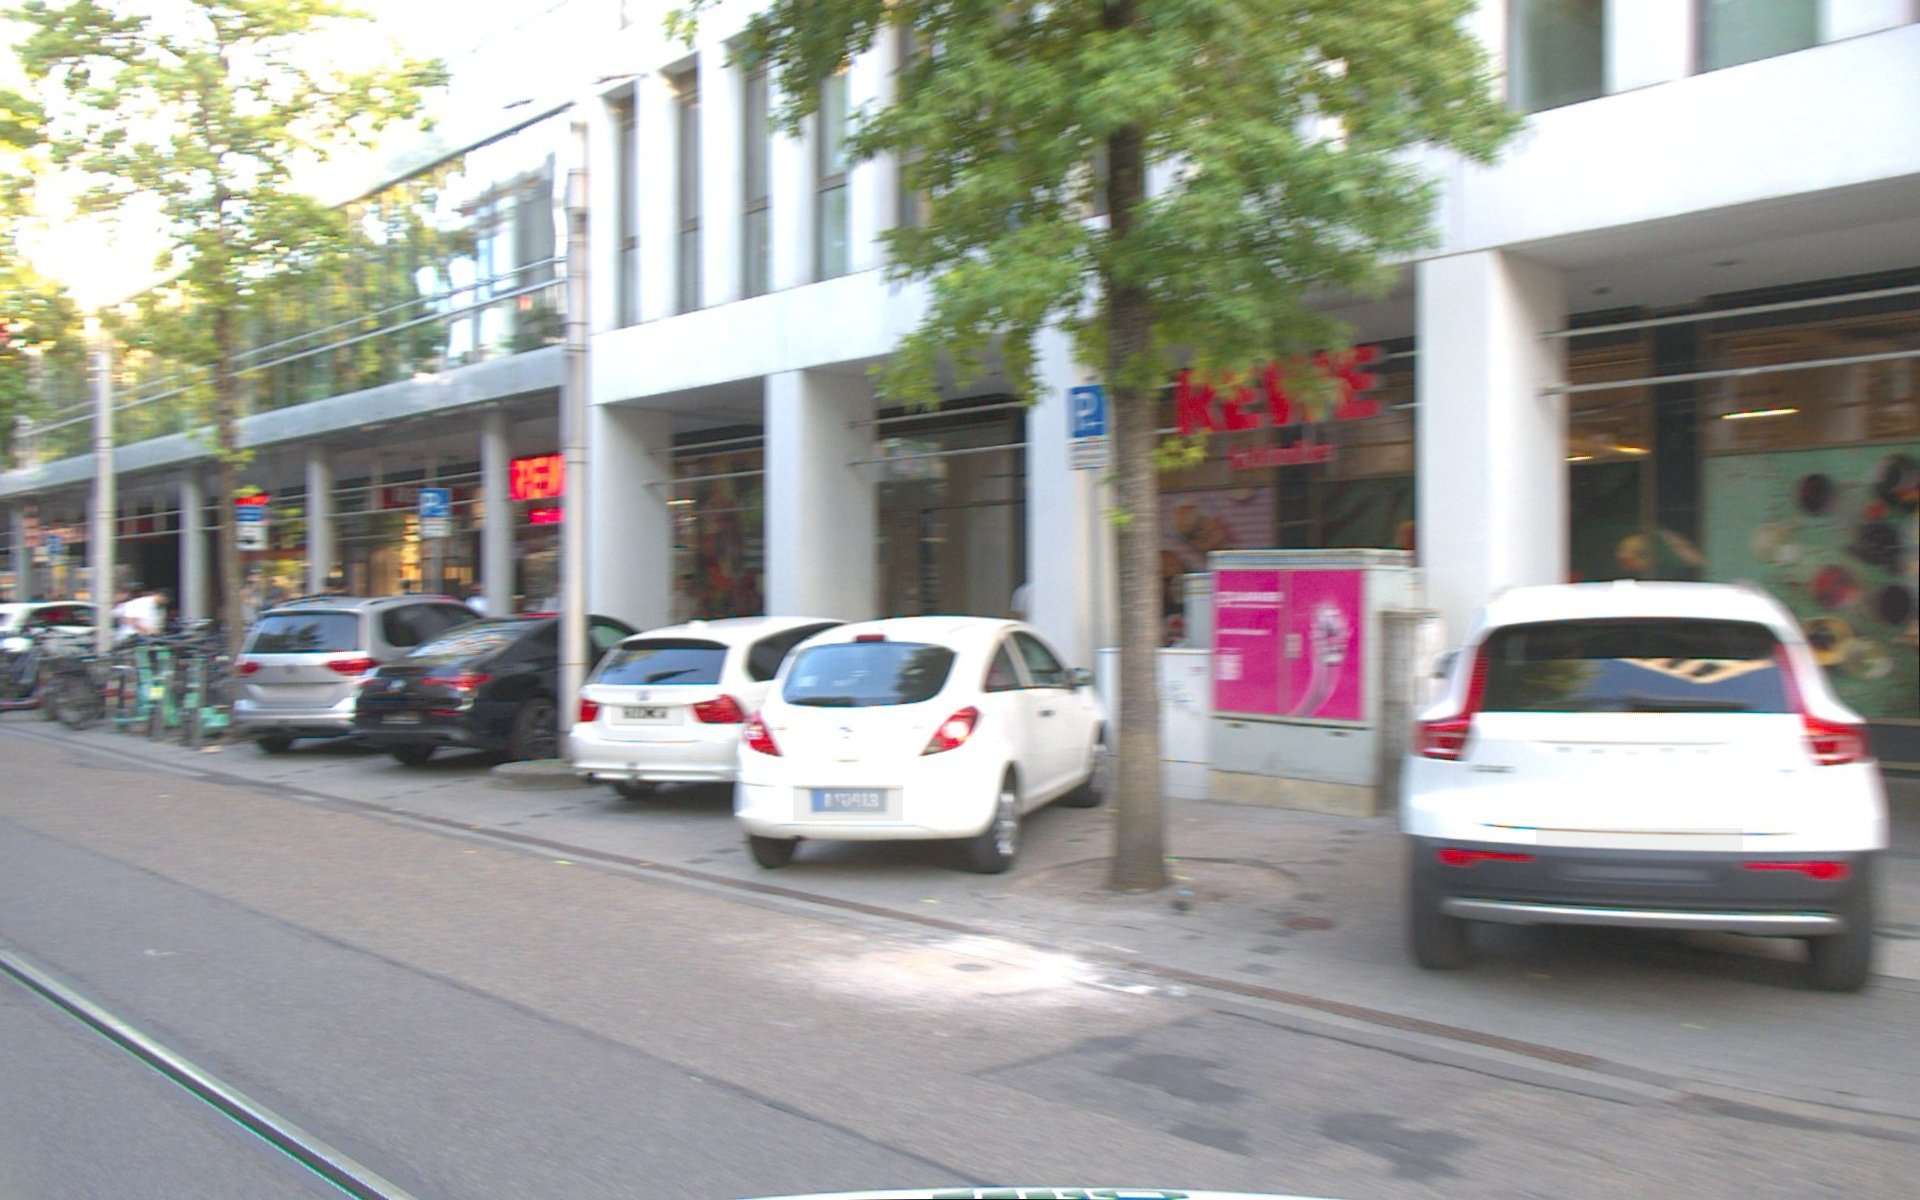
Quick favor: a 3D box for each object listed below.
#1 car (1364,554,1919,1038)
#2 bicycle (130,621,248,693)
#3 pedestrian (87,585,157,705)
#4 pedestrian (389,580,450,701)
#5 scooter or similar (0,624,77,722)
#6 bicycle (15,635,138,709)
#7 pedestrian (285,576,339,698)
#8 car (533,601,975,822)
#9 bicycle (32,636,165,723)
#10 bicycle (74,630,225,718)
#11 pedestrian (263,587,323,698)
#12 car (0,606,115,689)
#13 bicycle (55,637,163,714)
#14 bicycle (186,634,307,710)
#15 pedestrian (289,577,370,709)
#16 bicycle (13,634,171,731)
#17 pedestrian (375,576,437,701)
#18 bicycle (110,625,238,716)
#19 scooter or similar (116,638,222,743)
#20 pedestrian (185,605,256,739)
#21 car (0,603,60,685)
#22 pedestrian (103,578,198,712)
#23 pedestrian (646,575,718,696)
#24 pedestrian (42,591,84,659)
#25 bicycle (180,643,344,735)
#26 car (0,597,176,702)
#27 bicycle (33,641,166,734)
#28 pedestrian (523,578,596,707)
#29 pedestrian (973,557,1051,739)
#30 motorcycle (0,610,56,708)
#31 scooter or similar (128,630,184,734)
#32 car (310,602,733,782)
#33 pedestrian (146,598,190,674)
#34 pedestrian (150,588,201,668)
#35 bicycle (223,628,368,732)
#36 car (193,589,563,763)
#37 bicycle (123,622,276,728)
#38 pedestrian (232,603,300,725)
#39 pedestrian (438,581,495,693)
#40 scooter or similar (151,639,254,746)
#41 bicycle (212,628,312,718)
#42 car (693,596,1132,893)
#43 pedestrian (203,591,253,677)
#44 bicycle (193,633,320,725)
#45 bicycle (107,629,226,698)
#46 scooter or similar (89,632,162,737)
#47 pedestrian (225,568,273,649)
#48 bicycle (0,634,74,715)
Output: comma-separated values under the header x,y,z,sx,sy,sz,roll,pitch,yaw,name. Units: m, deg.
x,y,z,sx,sy,sz,roll,pitch,yaw,name
3.309,0.676,8.221,1.906,1.701,4.273,-2,1,22,car
-13.130,0.959,28.226,0.824,1.136,1.793,-1,1,17,bicycle
-13.321,0.699,26.312,0.585,1.844,0.820,0,2,8,pedestrian
-8.187,0.596,25.051,0.722,1.784,0.709,-1,1,-30,pedestrian
-13.254,1.012,23.206,1.359,1.327,0.697,0,0,8,scooter or similar
-14.941,1.204,28.028,0.896,1.136,1.751,-1,0,12,bicycle
-9.992,0.555,25.516,0.646,1.844,0.714,-1,1,-14,pedestrian
-1.575,0.825,14.374,1.786,1.447,4.349,-1,2,24,car
-12.388,1.116,23.854,0.609,1.095,1.835,0,2,14,bicycle
-12.143,1.083,24.848,0.682,1.168,1.998,0,2,28,bicycle
-11.393,0.712,28.270,0.775,1.844,0.659,-1,1,-9,pedestrian
-19.272,0.977,32.863,1.820,1.483,4.184,-1,2,23,car
-13.655,1.200,26.581,0.540,1.051,1.598,-1,4,17,bicycle
-11.332,1.122,26.341,0.804,1.113,1.835,0,0,15,bicycle
-9.056,0.598,23.782,0.868,1.844,0.936,-1,1,-9,pedestrian
-11.645,1.082,22.265,0.664,1.149,1.995,0,2,16,bicycle
-8.428,0.572,25.144,0.654,1.844,0.707,-2,1,-39,pedestrian
-11.052,0.969,23.302,0.467,1.158,1.685,0,2,26,bicycle
-9.617,1.075,20.150,0.486,1.202,1.333,0,0,9,scooter or similar
-9.475,0.903,21.190,0.780,1.654,0.763,-1,1,-25,pedestrian
-21.260,0.988,34.603,1.874,1.666,4.212,-1,2,14,car
-12.189,0.652,24.927,0.845,1.947,0.949,0,3,35,pedestrian
-4.072,0.507,24.197,0.677,1.729,0.792,2,0,-44,pedestrian
-25.292,0.692,46.641,0.829,1.868,0.929,-1,1,-44,pedestrian
-8.796,1.111,20.862,1.833,1.095,0.631,0,1,11,bicycle
-16.259,0.844,29.379,1.831,1.590,4.348,-2,2,14,car
-11.392,1.138,21.954,0.482,1.095,1.750,0,1,16,bicycle
-5.731,0.598,23.683,0.677,1.802,0.792,2,0,-44,pedestrian
0.540,0.482,16.984,0.665,1.802,0.806,1,0,9,pedestrian
-15.315,0.932,26.120,0.777,1.497,2.206,0,1,2,motorcycle
-10.251,1.021,21.076,0.562,1.226,1.269,-2,1,-29,scooter or similar
-4.361,0.852,17.209,1.910,1.447,4.349,-2,1,24,car
-18.107,0.823,37.808,0.659,1.729,0.792,2,-2,-44,pedestrian
-18.387,0.636,38.768,0.874,1.813,0.743,-2,2,-45,pedestrian
-8.684,1.037,21.655,1.625,1.271,0.640,-1,1,-8,bicycle
-6.511,0.772,19.178,1.907,1.668,4.680,-1,1,11,car
-10.225,0.980,22.313,0.666,1.296,1.831,0,2,28,bicycle
-9.701,0.887,23.144,0.690,1.653,0.659,-1,1,-9,pedestrian
-7.188,0.528,24.076,0.750,1.599,0.627,0,-1,-21,pedestrian
-8.972,1.076,19.639,0.566,1.170,1.401,0,1,0,scooter or similar
-10.380,1.063,24.661,0.541,1.210,1.697,-1,2,8,bicycle
-0.100,0.825,11.357,1.752,1.527,4.071,-2,1,17,car
-14.996,0.683,33.894,0.677,1.729,0.792,2,0,-44,pedestrian
-9.991,1.101,23.542,0.491,1.169,1.692,0,2,31,bicycle
-14.151,1.118,29.555,0.914,1.136,1.749,-1,0,22,bicycle
-10.376,1.035,20.561,0.480,1.243,1.195,-2,1,-42,scooter or similar
-14.083,0.174,32.746,0.677,1.575,0.654,2,-2,-44,pedestrian
-14.283,1.114,24.795,0.787,1.136,1.751,0,1,14,bicycle
